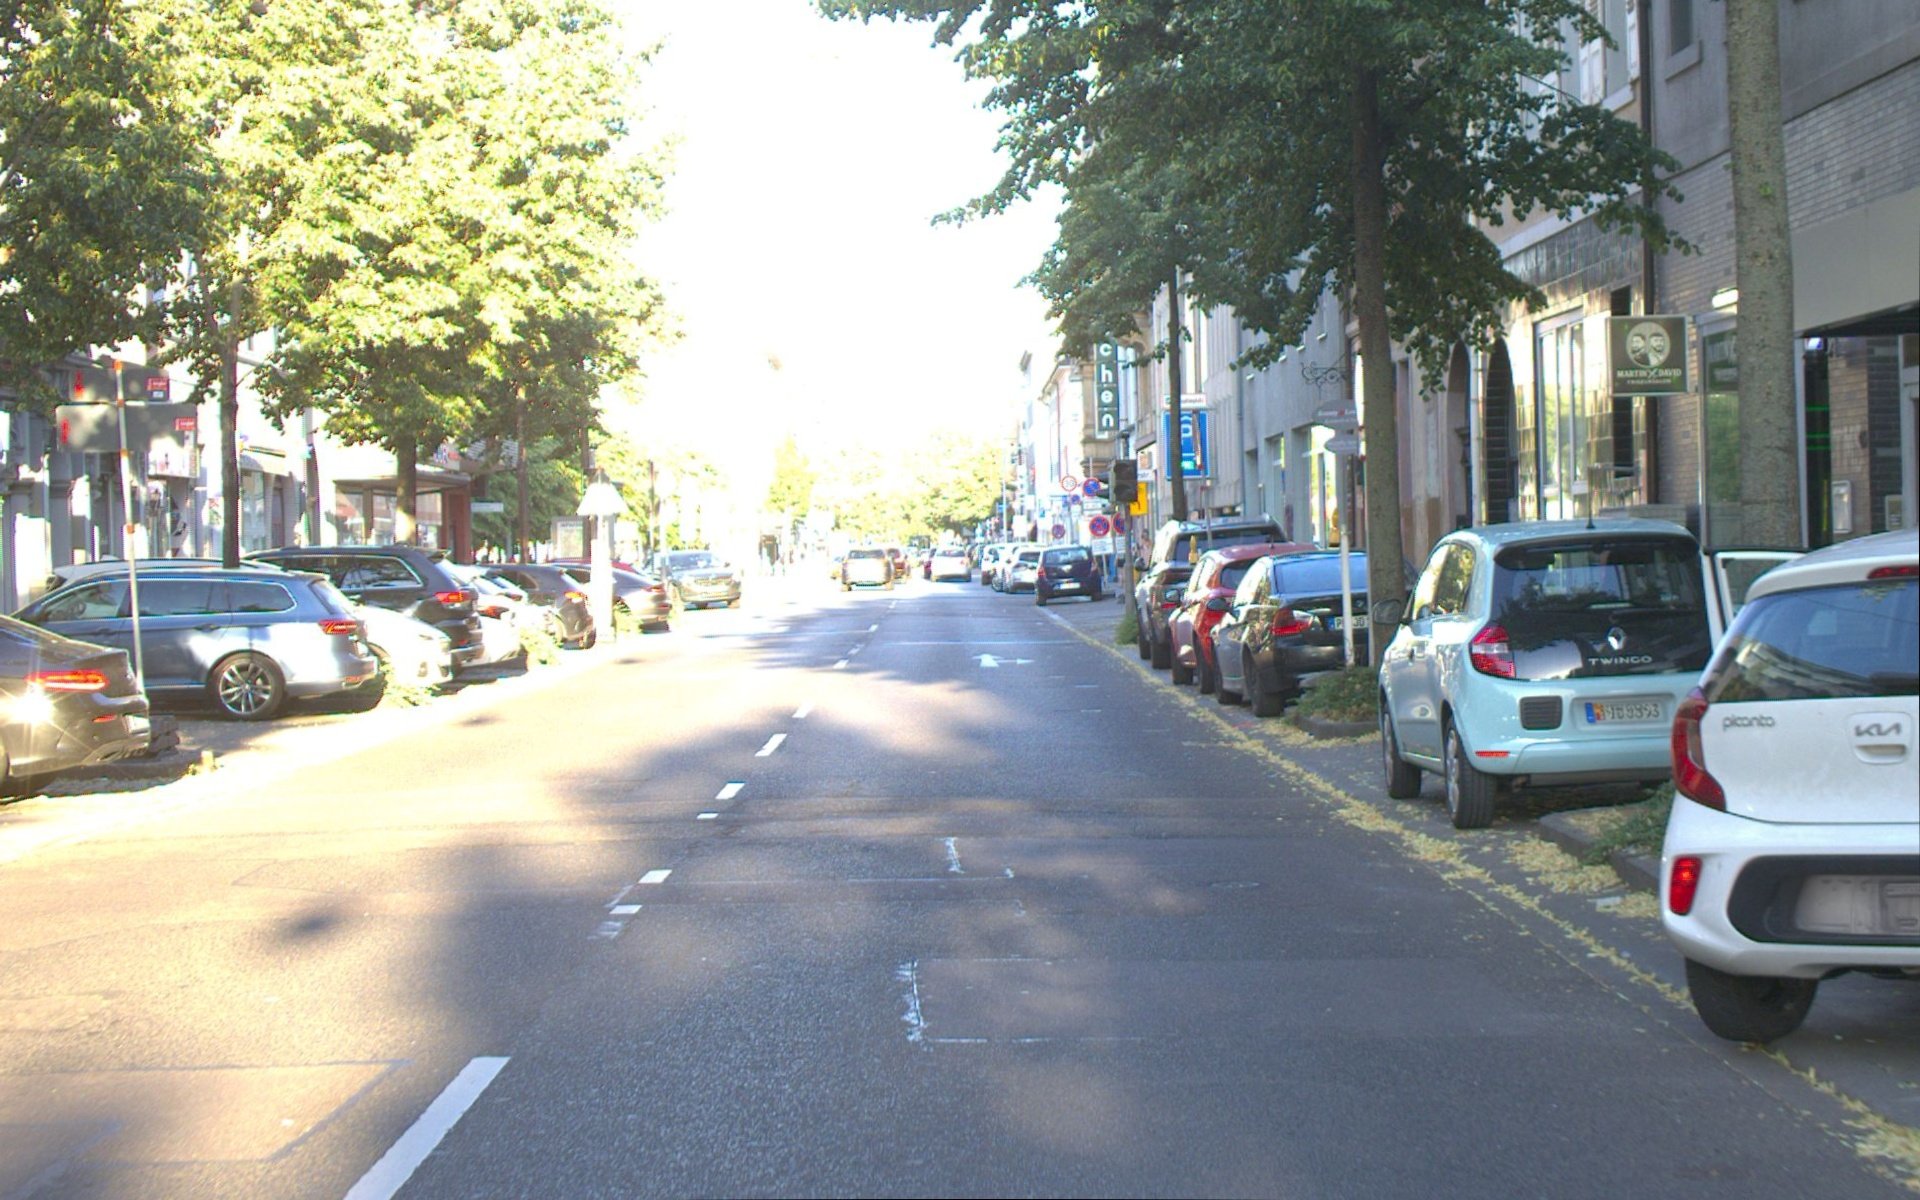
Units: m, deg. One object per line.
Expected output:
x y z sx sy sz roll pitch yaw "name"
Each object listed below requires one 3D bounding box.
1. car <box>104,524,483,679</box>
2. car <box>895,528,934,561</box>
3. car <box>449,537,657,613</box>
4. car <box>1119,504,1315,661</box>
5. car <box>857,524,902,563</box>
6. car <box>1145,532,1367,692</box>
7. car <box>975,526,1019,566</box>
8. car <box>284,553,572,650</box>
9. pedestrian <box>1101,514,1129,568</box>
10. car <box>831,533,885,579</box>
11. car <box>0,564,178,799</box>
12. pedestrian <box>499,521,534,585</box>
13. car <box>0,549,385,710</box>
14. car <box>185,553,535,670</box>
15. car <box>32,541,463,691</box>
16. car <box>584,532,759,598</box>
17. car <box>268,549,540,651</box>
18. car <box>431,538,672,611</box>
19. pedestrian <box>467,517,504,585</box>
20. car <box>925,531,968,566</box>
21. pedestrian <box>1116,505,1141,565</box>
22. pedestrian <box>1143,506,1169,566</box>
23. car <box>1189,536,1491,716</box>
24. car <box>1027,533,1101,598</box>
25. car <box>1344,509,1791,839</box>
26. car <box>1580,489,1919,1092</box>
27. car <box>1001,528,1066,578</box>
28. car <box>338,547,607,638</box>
-7.801 -0.003 40.531 4.149 1.767 1.890 0 1 -2 "car"
-2.274 -2.755 170.832 1.896 1.575 3.852 1 1 -1 "car"
-8.380 -0.525 70.976 4.072 1.531 1.884 0 1 0 "car"
3.140 -0.262 42.935 2.038 1.731 4.711 -3 1 1 "car"
-3.519 -2.474 150.879 1.896 1.644 4.104 -1 1 -1 "car"
3.050 0.079 36.119 1.729 1.482 3.901 -3 1 -3 "car"
1.536 -2.258 143.048 1.729 1.645 4.285 0 1 -1 "car"
-8.171 0.008 53.022 4.097 1.398 1.843 -1 1 1 "car"
5.005 -1.896 111.016 0.772 1.705 1.042 -3 1 -1 "pedestrian"
-3.746 -1.633 127.073 1.896 1.644 4.104 -1 1 -1 "car"
-7.561 0.538 22.926 4.274 1.479 1.744 -1 1 0 "car"
-10.722 -1.133 83.084 0.734 1.523 0.875 0 0 0 "pedestrian"
-8.028 0.274 33.725 4.547 1.479 1.745 -1 1 -4 "car"
-7.519 0.129 43.382 4.149 1.416 1.767 0 1 -2 "car"
-7.845 0.157 38.157 4.406 1.590 1.890 0 2 -1 "car"
-7.952 -0.971 94.796 4.452 1.686 1.865 0 2 27 "car"
-8.084 -0.020 50.251 3.737 1.439 1.806 0 1 -3 "car"
-7.999 -0.514 67.627 4.570 1.403 1.822 0 1 -2 "car"
-11.440 -1.176 82.883 0.772 1.602 0.875 0 0 0 "pedestrian"
-0.630 -2.338 157.237 1.896 1.575 4.000 0 1 -1 "car"
4.533 -1.740 92.377 0.604 1.594 0.774 -1 1 -1 "pedestrian"
5.263 -1.725 92.382 0.604 1.594 0.774 -1 1 -1 "pedestrian"
3.347 0.179 31.139 1.951 1.385 4.425 -3 1 -3 "car"
2.711 -0.930 90.362 1.759 1.531 4.000 -4 1 1 "car"
3.202 0.325 18.754 1.691 1.537 3.553 -3 1 -1 "car"
3.617 0.413 10.590 1.664 1.578 3.615 -3 2 41 "car"
2.317 -1.486 109.100 1.759 1.531 4.822 1 0 -2 "car"
-7.781 -0.134 55.141 4.106 1.398 1.884 0 1 -2 "car"
